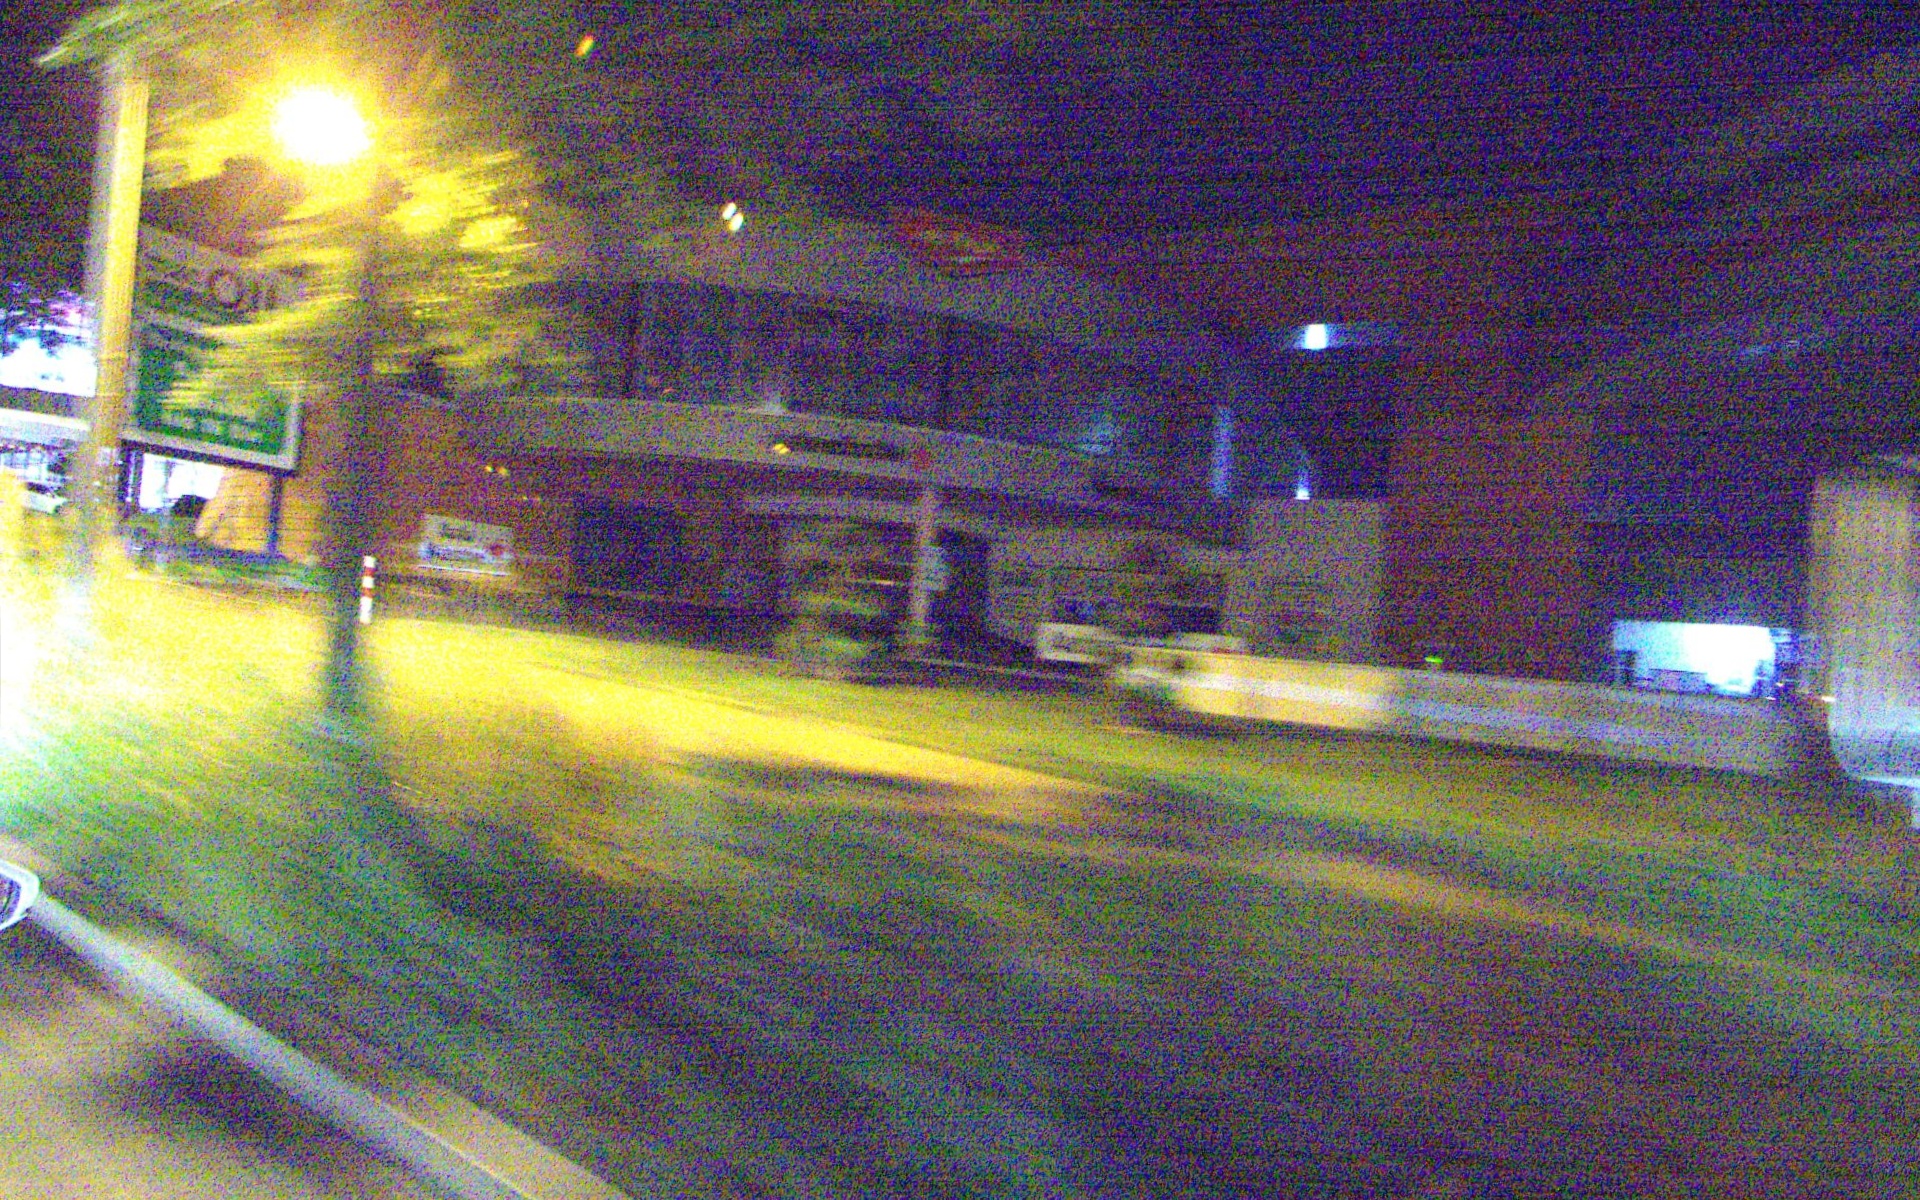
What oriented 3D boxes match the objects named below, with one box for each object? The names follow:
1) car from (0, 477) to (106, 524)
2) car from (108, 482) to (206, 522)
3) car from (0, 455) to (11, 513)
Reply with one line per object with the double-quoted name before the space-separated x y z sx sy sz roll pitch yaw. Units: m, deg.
"car" -42.805 -4.676 47.386 3.891 1.735 1.810 6 2 10
"car" -41.336 -5.031 51.795 3.891 1.600 1.797 6 4 10
"car" -44.752 -5.243 42.842 2.240 2.565 6.027 6 4 15
